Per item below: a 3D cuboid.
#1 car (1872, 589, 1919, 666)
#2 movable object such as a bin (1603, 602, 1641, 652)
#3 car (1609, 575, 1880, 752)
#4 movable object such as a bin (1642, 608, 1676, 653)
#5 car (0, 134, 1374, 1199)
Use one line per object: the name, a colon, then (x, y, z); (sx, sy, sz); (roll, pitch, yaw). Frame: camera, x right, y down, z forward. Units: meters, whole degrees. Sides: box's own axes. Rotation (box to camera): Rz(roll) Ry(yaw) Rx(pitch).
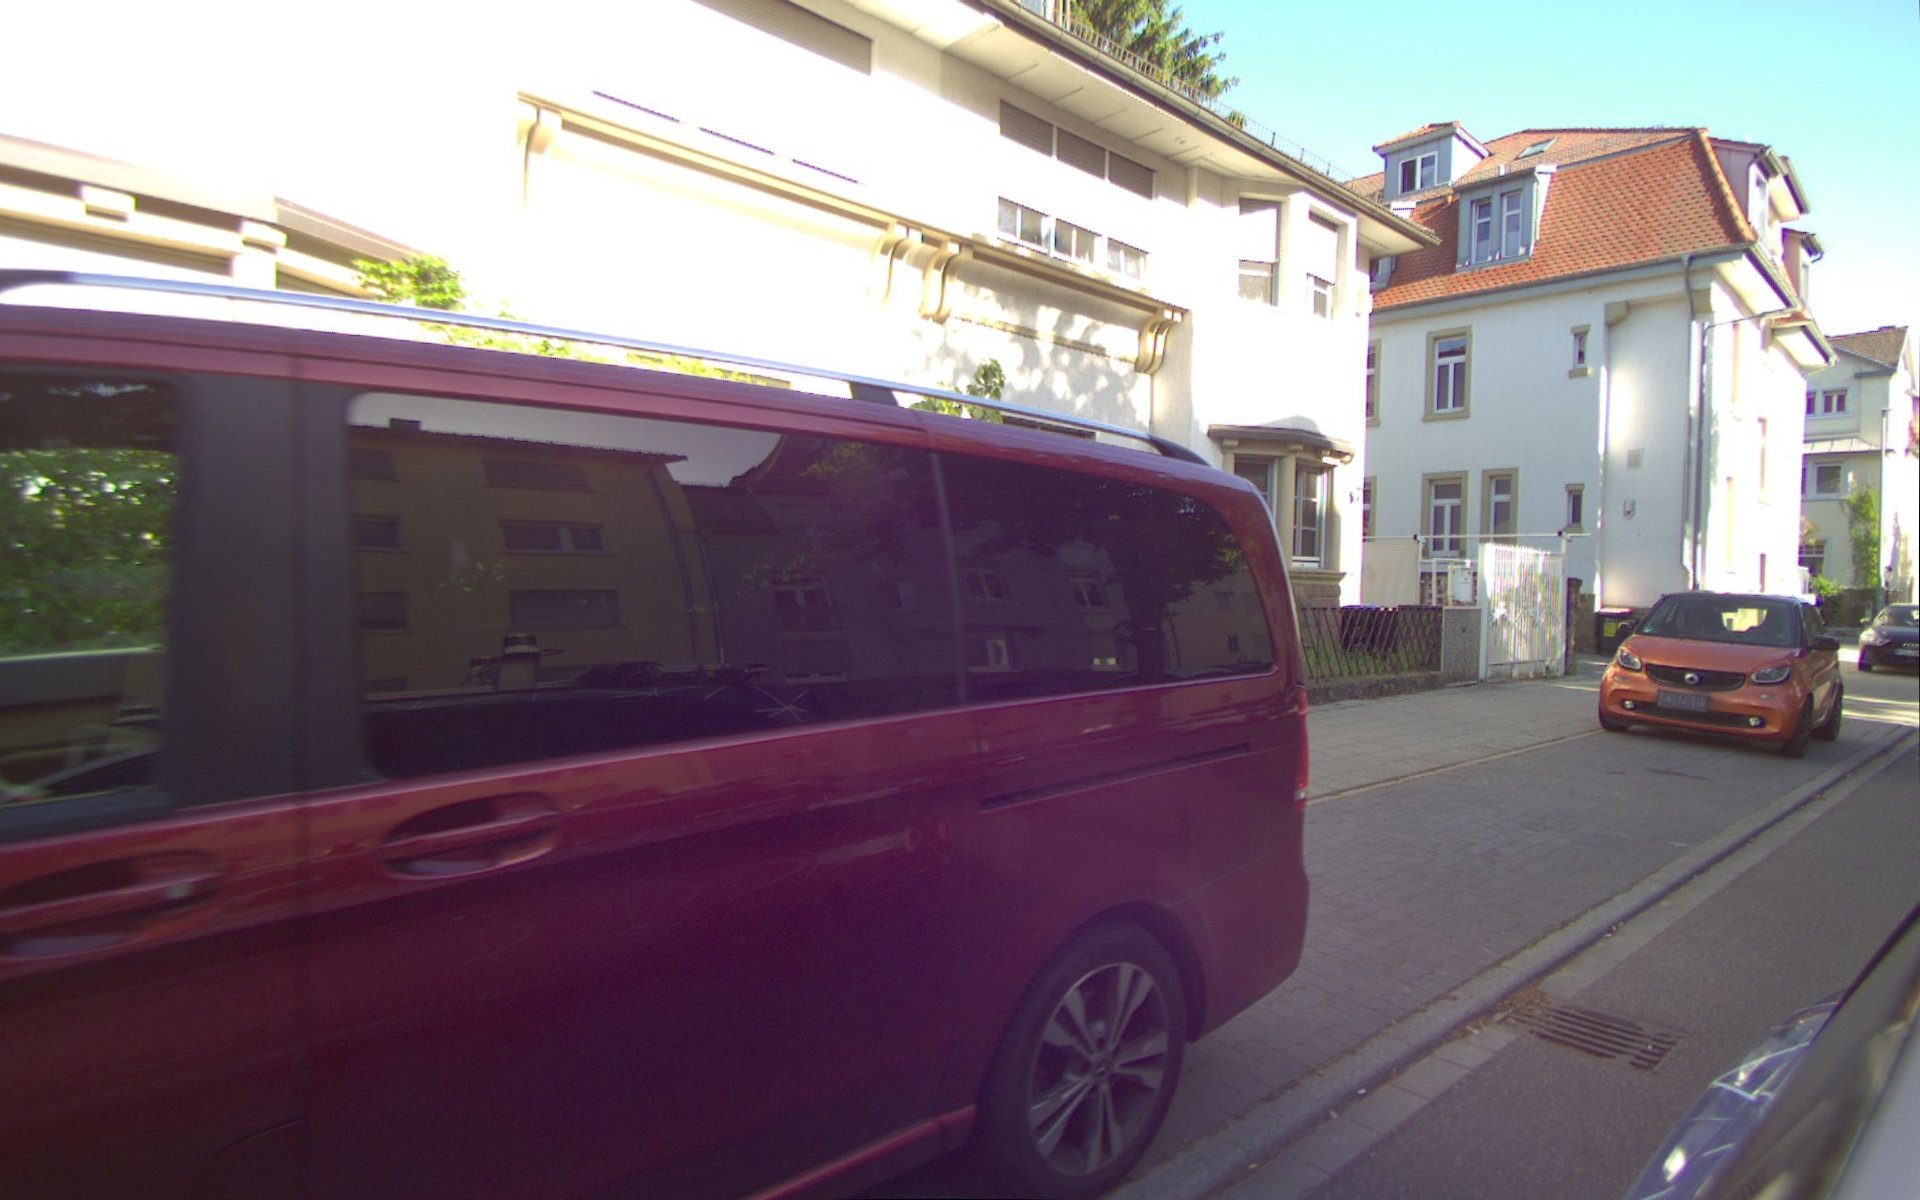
car: (20.209, 0.568, 20.887); (3.867, 1.457, 1.623); (0, 4, -43)
movable object such as a bin: (14.743, 0.600, 22.528); (0.685, 1.076, 0.556); (-1, 0, -44)
car: (8.312, 0.552, 10.654); (3.190, 1.498, 1.596); (0, 4, -41)
movable object such as a bin: (15.231, 0.652, 22.055); (0.642, 0.948, 0.486); (-1, 0, -44)
car: (-1.361, 0.406, 2.090); (5.105, 1.928, 1.876); (-1, 3, -40)
